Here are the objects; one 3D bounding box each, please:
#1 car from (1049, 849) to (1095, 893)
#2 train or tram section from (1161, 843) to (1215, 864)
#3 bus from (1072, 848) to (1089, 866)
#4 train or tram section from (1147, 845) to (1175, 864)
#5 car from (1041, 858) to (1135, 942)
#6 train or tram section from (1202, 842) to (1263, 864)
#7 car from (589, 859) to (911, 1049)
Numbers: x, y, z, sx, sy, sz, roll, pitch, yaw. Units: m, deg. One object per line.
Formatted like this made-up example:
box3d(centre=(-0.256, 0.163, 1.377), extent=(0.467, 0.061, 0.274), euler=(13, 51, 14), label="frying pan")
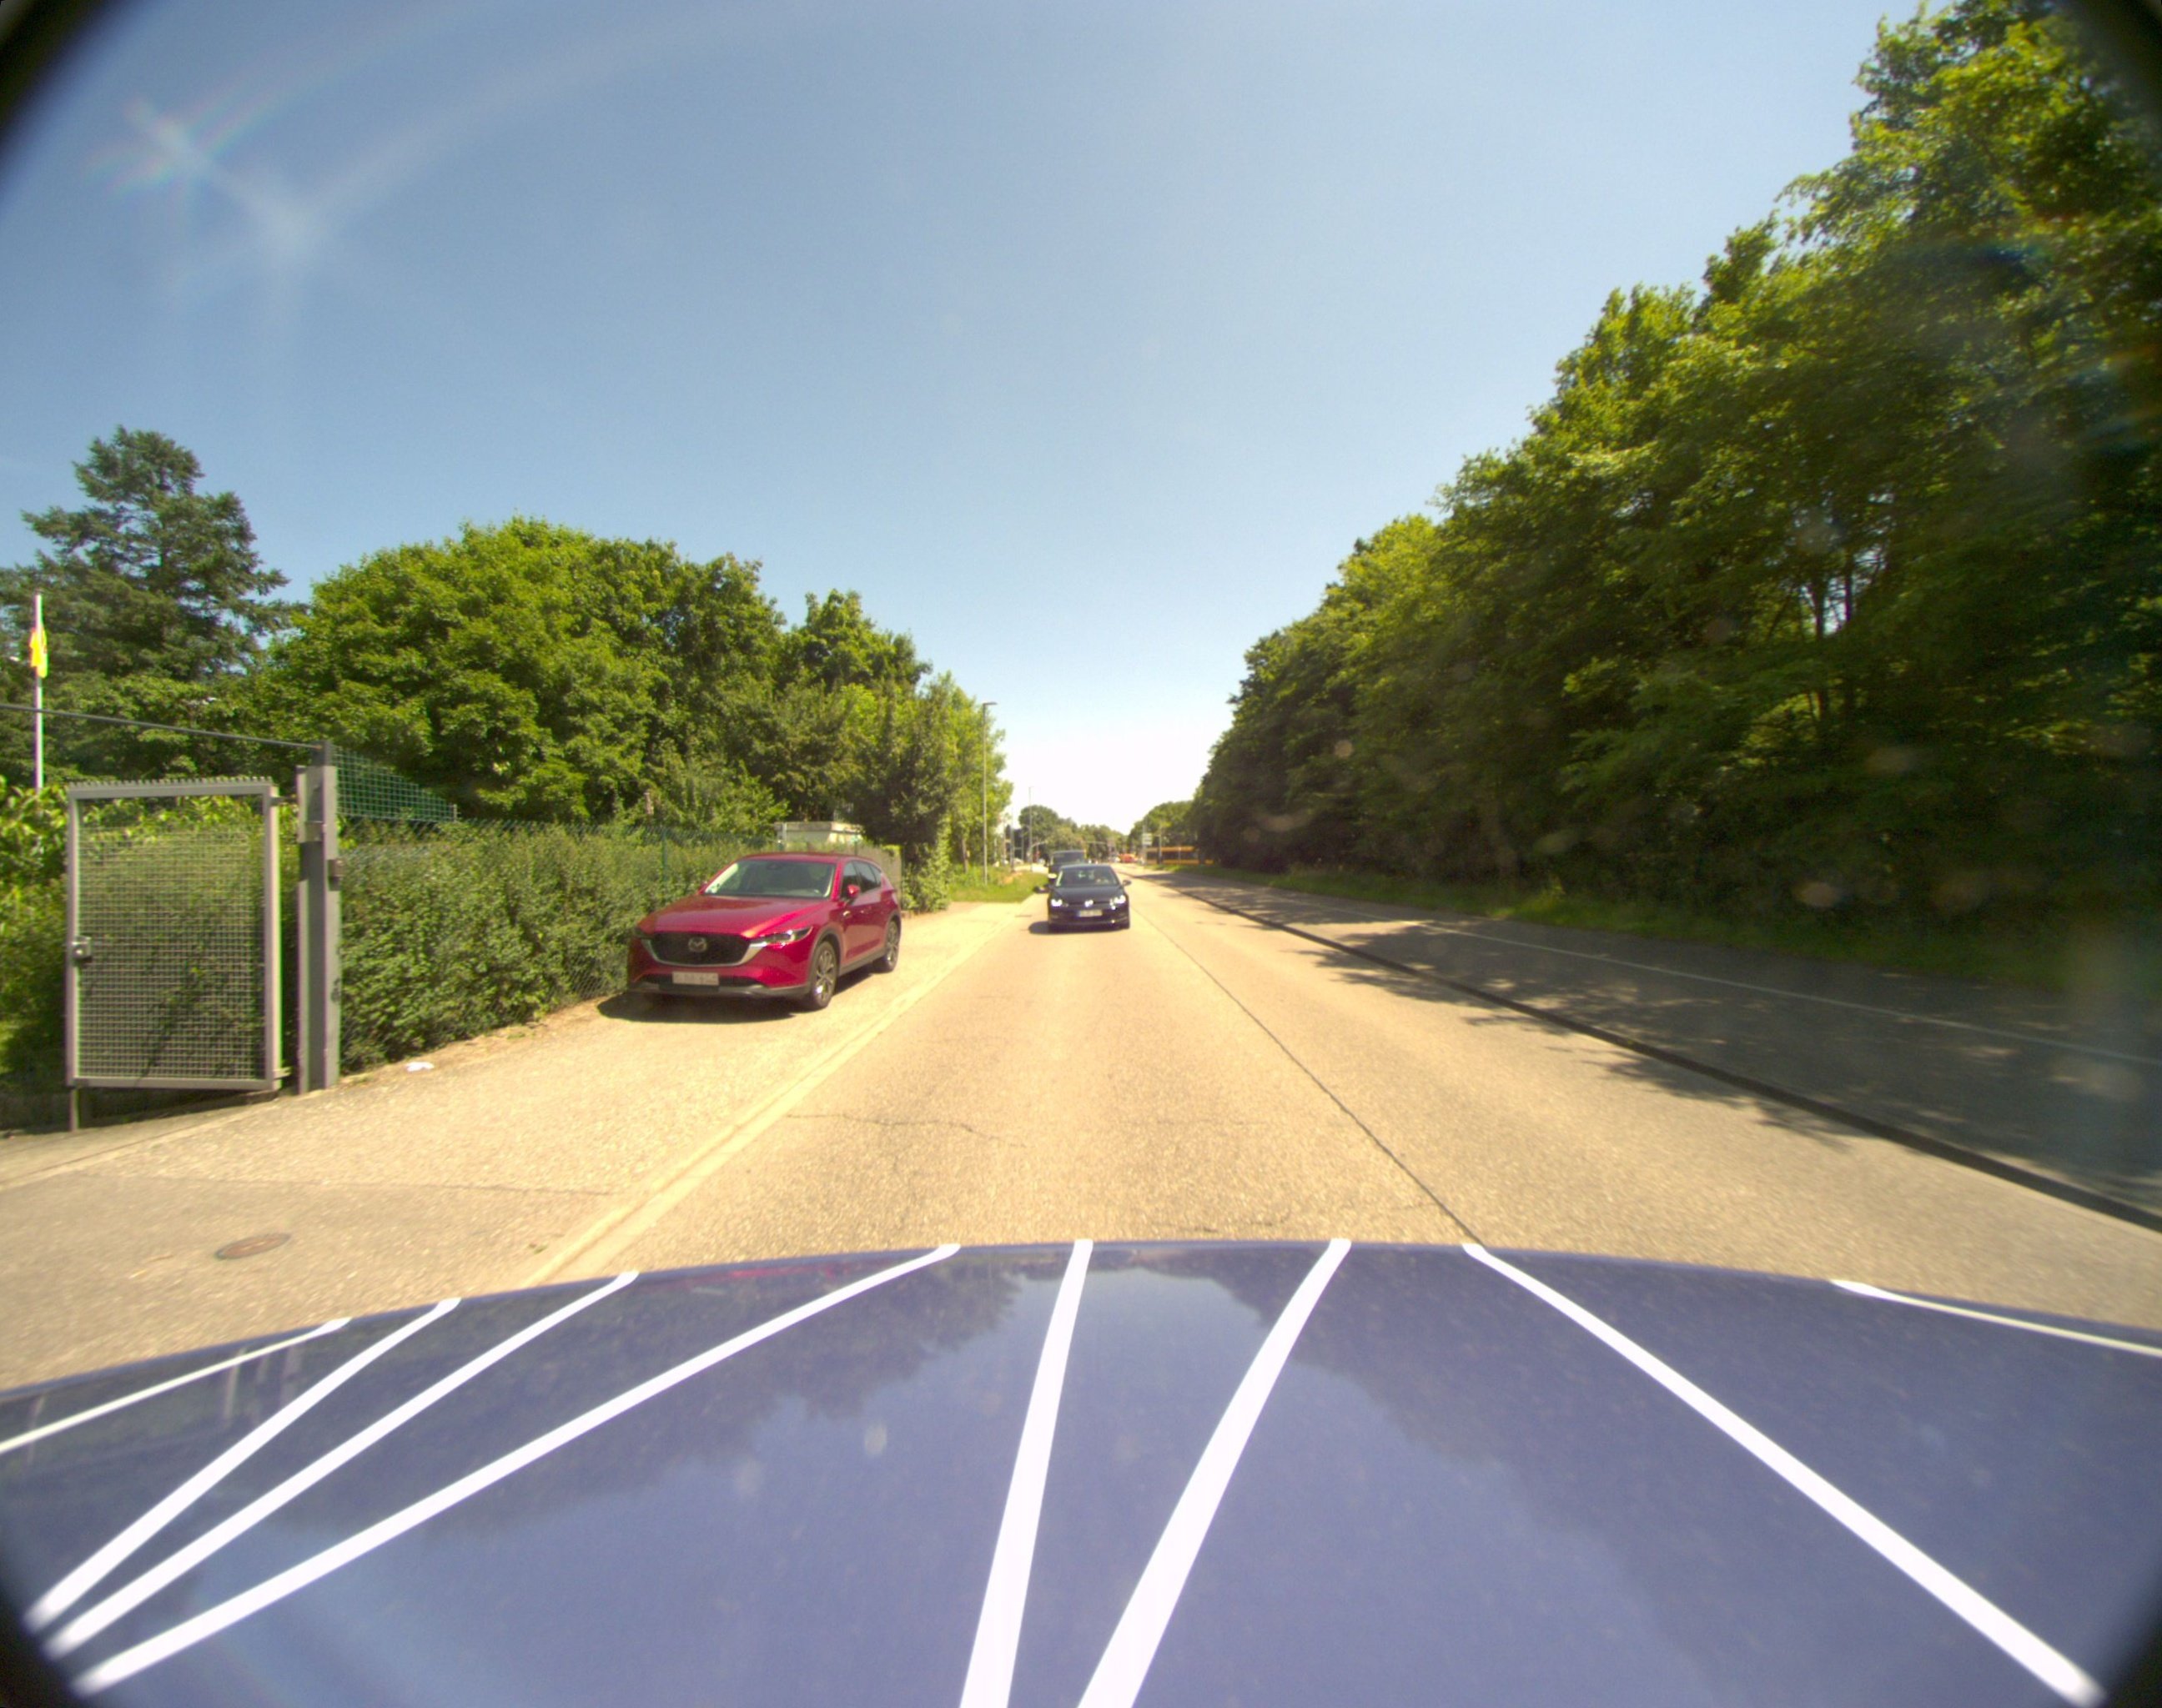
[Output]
box3d(centre=(-0.515, 0.774, 36.764), extent=(2.002, 1.965, 4.449), euler=(-1, 0, -3), label="car")
box3d(centre=(18.268, 0.032, 130.901), extent=(2.656, 3.446, 10.827), euler=(-2, 0, -33), label="train or tram section")
box3d(centre=(-0.060, 0.589, 147.123), extent=(2.931, 3.248, 8.330), euler=(-3, 0, 1), label="bus")
box3d(centre=(14.642, 0.110, 140.600), extent=(2.579, 3.445, 10.847), euler=(-1, 0, -8), label="train or tram section")
box3d(centre=(0.130, 0.948, 17.782), extent=(1.887, 1.667, 4.662), euler=(-1, 0, 0), label="car")
box3d(centre=(24.691, -0.120, 124.441), extent=(9.327, 3.445, 2.788), euler=(-1, 0, 32), label="train or tram section")
box3d(centre=(-3.526, 0.925, 9.161), extent=(1.794, 1.648, 4.453), euler=(3, 0, 1), label="car")
